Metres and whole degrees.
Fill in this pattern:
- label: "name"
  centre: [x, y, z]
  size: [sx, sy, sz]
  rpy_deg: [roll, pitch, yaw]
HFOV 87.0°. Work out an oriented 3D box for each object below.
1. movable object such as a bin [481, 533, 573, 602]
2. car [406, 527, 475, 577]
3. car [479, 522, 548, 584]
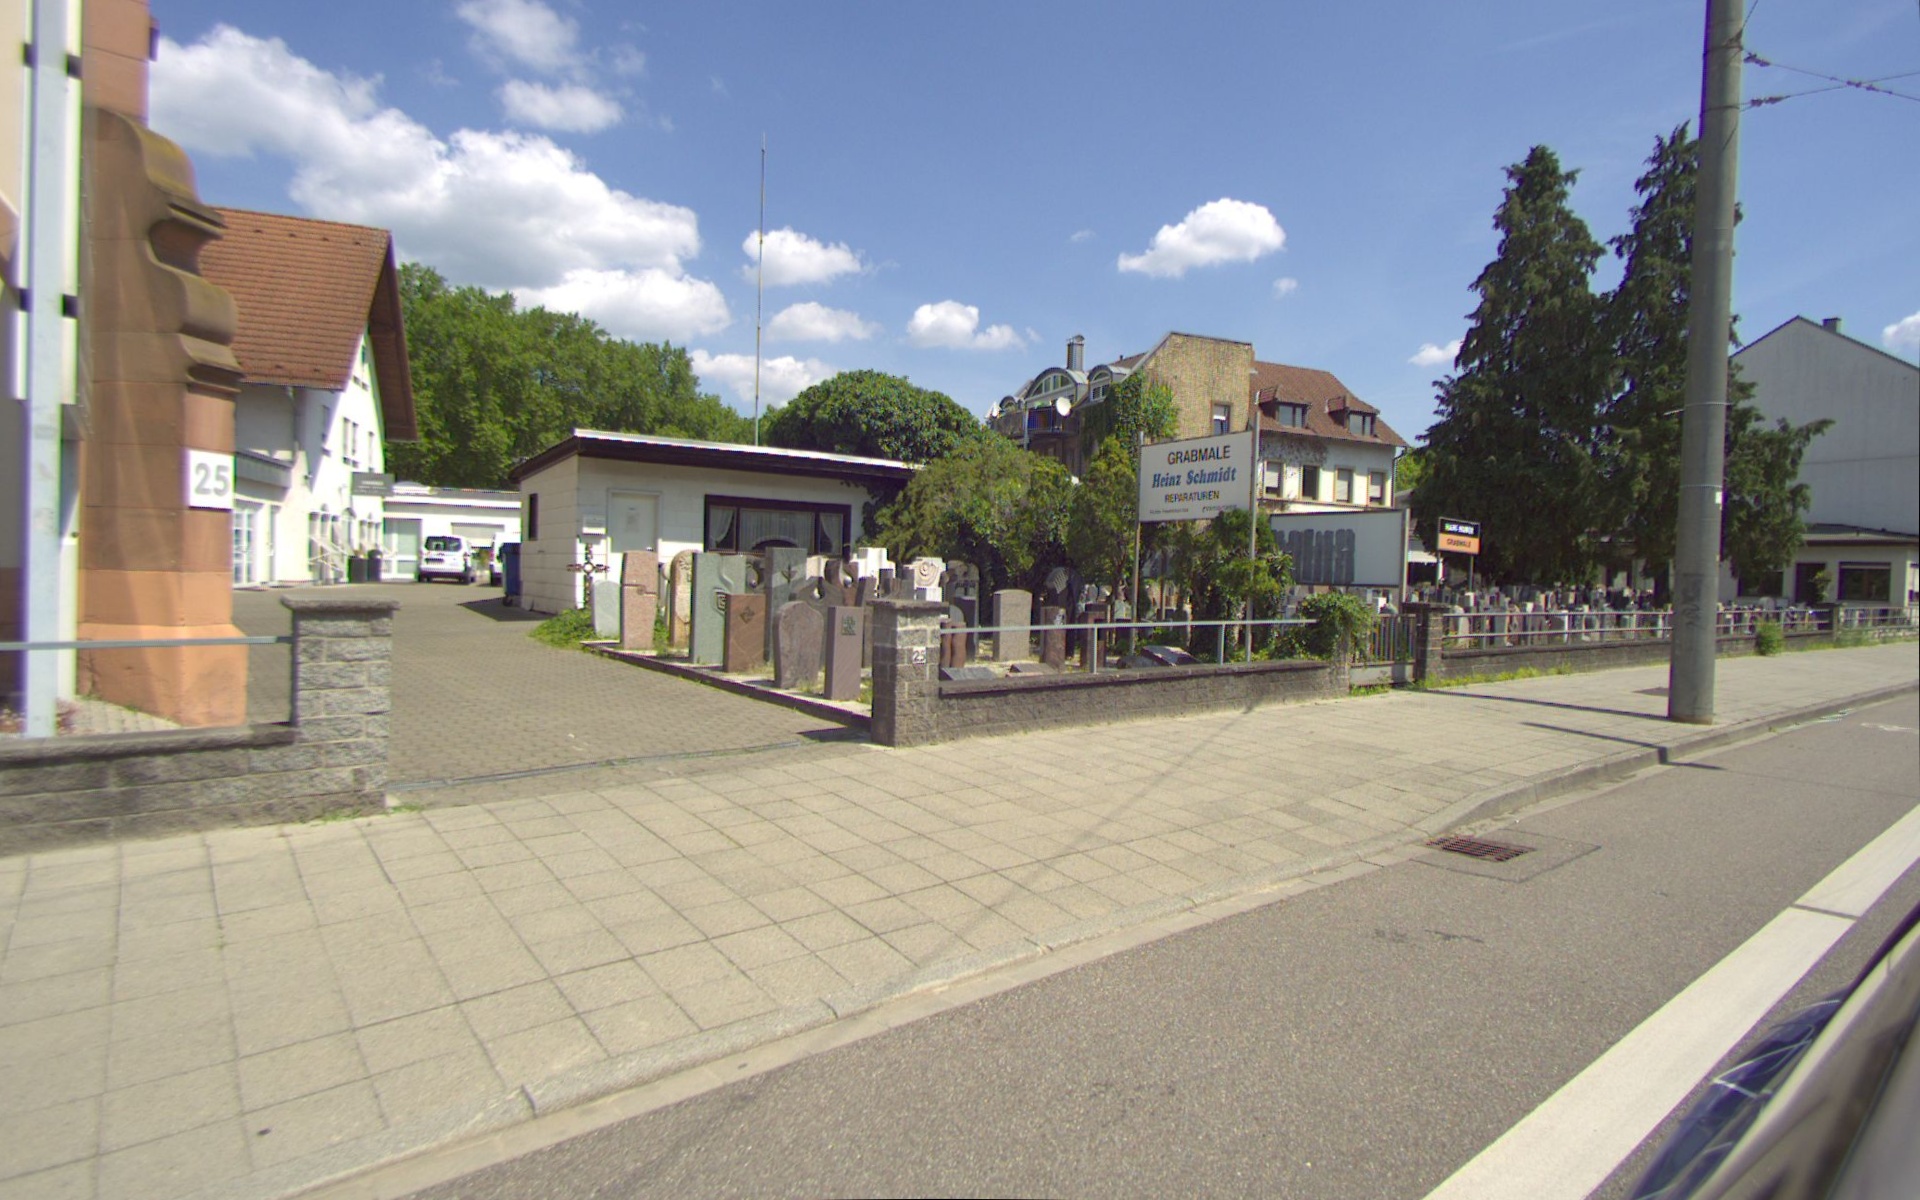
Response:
- label: "movable object such as a bin"
  centre: [-8.953, -0.667, 20.944]
  size: [1.492, 1.356, 1.133]
  rpy_deg: [0, 2, -40]
- label: "car"
  centre: [-18.662, -1.698, 36.497]
  size: [1.958, 1.680, 4.008]
  rpy_deg: [0, 2, -23]
- label: "car"
  centre: [-15.857, -1.637, 36.103]
  size: [1.958, 2.038, 4.009]
  rpy_deg: [1, 2, -20]
